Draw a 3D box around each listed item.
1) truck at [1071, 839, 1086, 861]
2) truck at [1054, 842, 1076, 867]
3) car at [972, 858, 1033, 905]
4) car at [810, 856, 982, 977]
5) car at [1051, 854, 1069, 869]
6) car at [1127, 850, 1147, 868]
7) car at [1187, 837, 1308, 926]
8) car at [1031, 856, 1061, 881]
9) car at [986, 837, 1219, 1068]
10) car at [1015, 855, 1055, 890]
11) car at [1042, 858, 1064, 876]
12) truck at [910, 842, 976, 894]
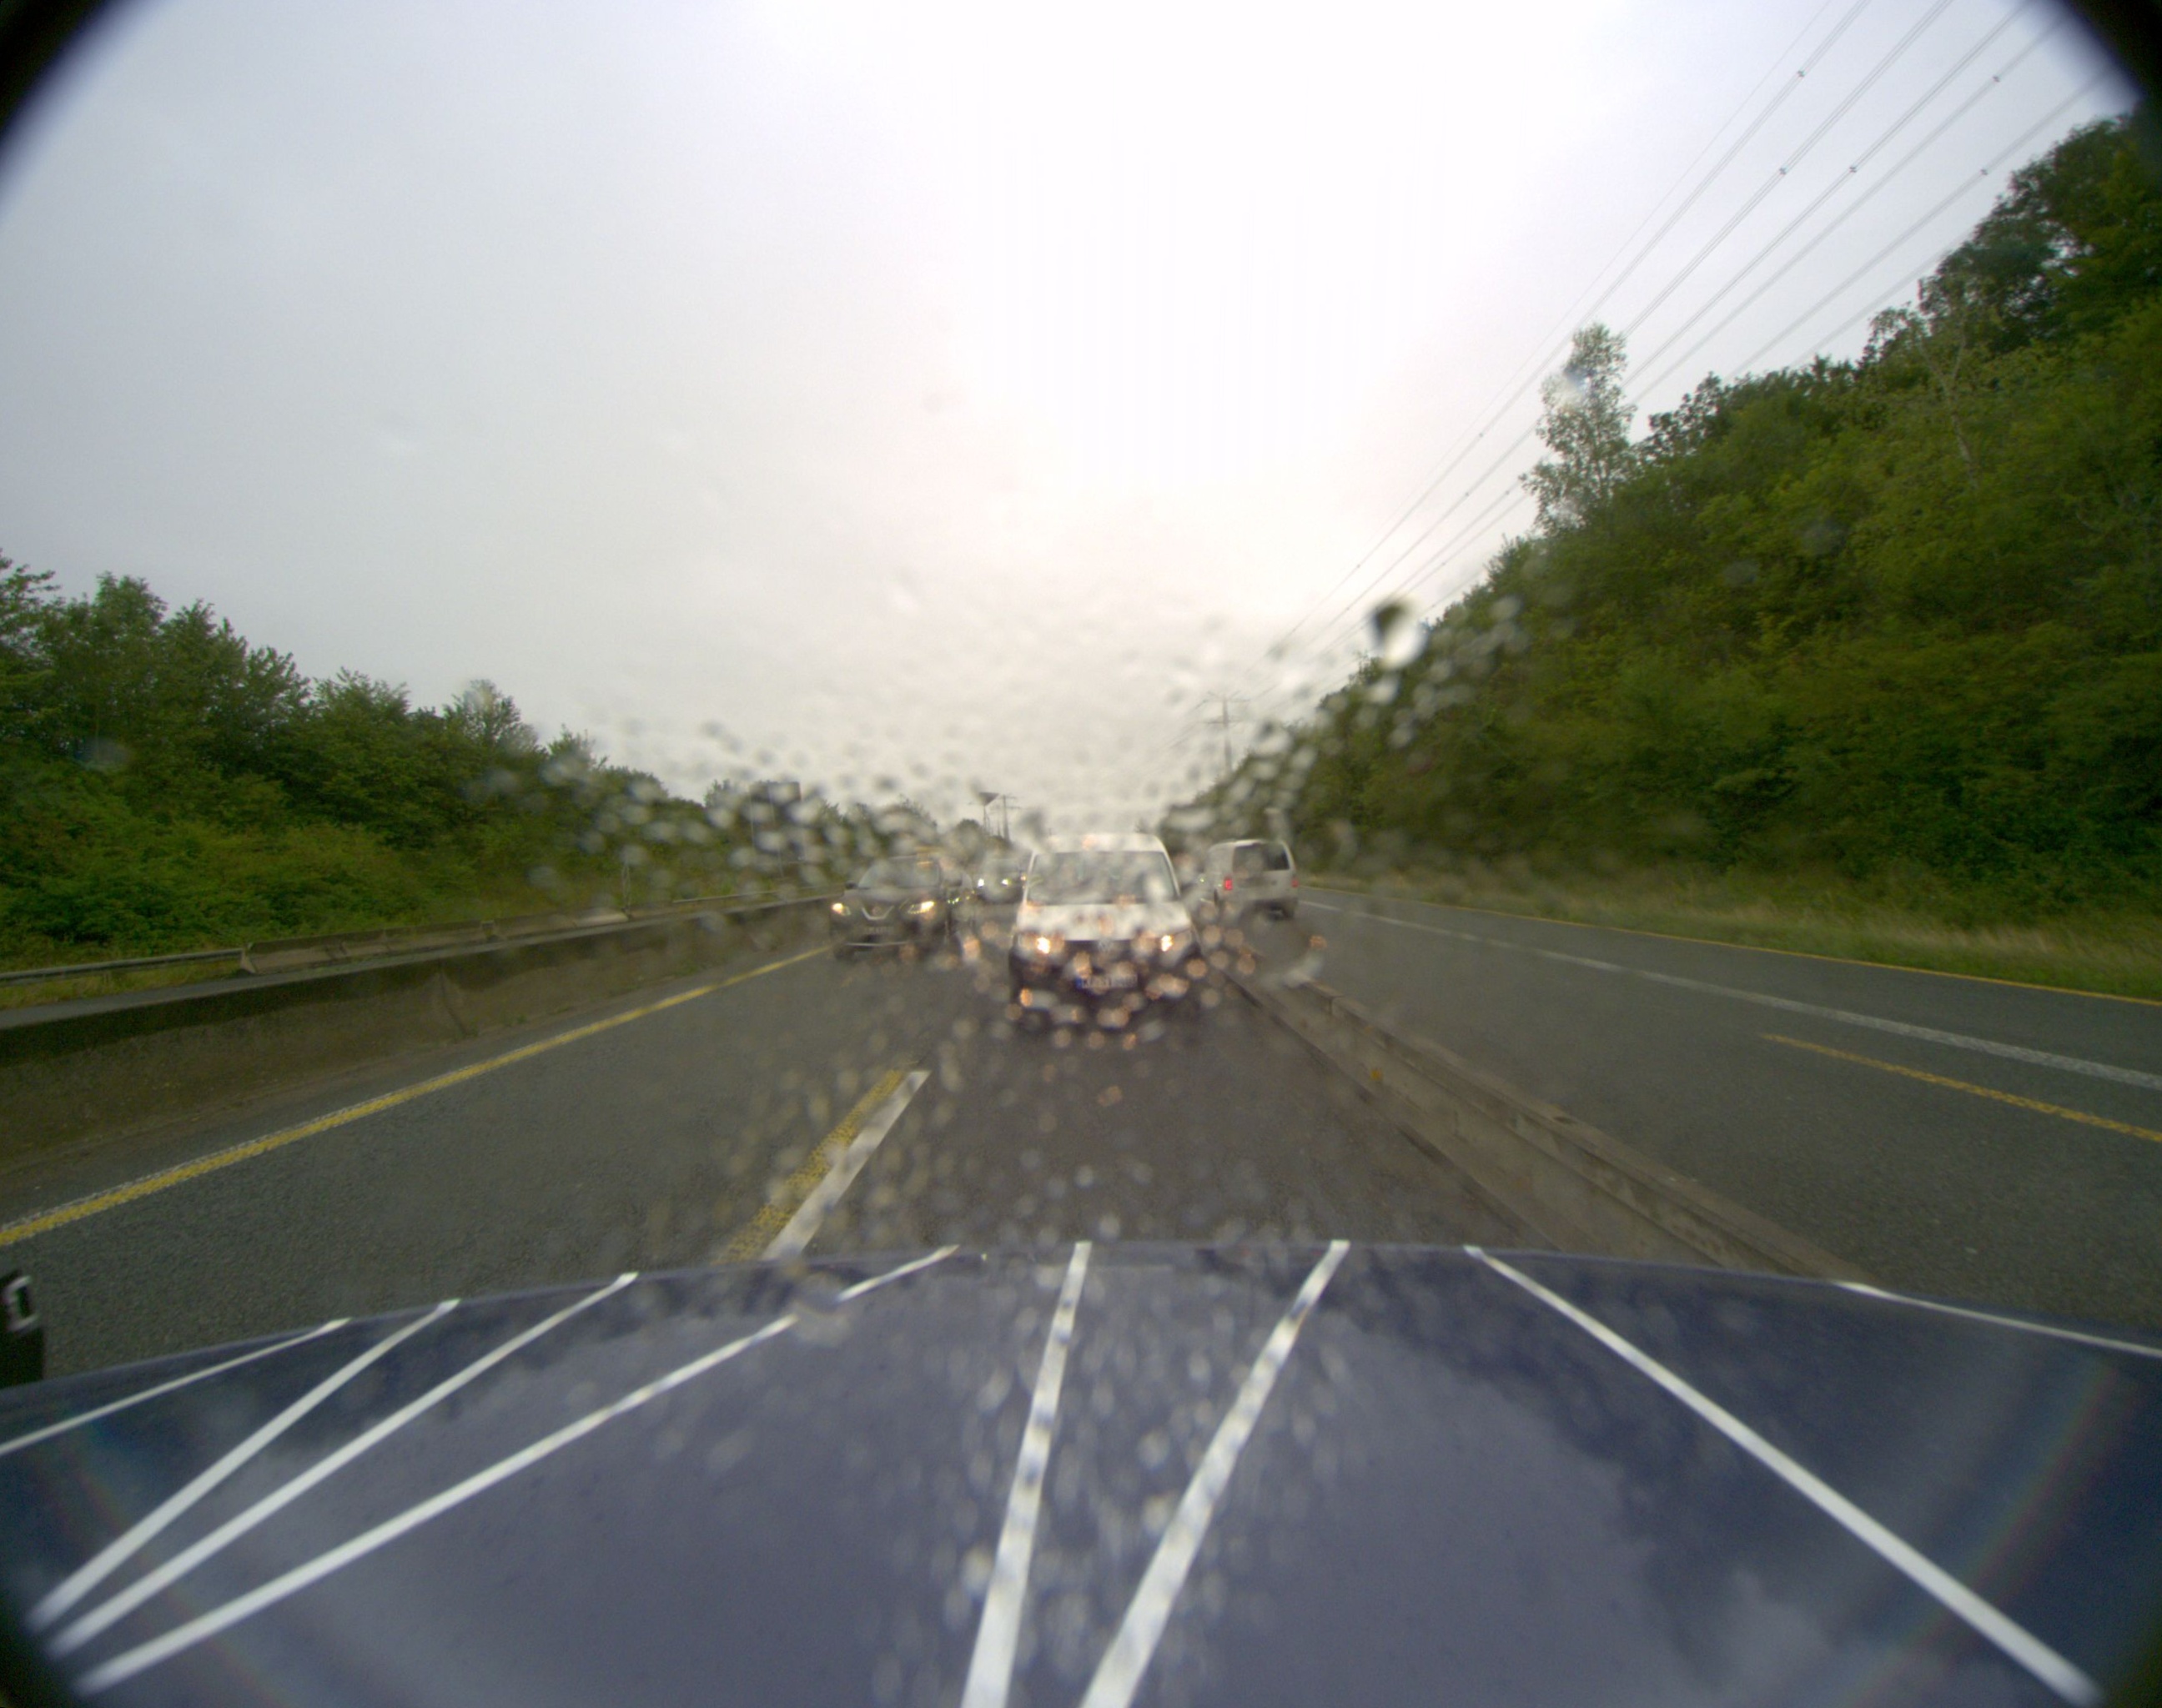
[{"bbox_3d":[-0.417,-0.750,141.797,2.619,3.868,9.574,-2,1,0],"label":"truck"},{"bbox_3d":[-2.275,0.007,109.891,2.619,3.404,9.575,-2,1,2],"label":"truck"},{"bbox_3d":[-2.832,0.942,28.107,1.784,1.482,4.123,-2,1,0],"label":"car"},{"bbox_3d":[-3.032,0.936,13.559,1.894,1.665,4.640,-2,1,0],"label":"car"},{"bbox_3d":[-2.207,0.737,81.910,1.784,1.482,4.123,-2,1,0],"label":"car"},{"bbox_3d":[5.567,0.500,75.765,1.814,1.623,4.118,-2,1,2],"label":"car"},{"bbox_3d":[3.853,0.563,18.435,1.815,1.813,4.634,-2,1,-1],"label":"car"},{"bbox_3d":[-2.264,0.947,50.195,1.784,1.482,4.123,-2,1,0],"label":"car"},{"bbox_3d":[0.164,0.760,8.364,1.784,1.775,4.697,-2,1,0],"label":"car"},{"bbox_3d":[-2.295,0.903,39.017,1.784,1.589,4.123,-2,1,0],"label":"car"},{"bbox_3d":[-2.500,1.150,69.154,1.784,1.482,4.123,-2,1,0],"label":"car"},{"bbox_3d":[-9.843,0.877,55.339,2.619,3.404,9.576,-2,1,2],"label":"truck"}]
